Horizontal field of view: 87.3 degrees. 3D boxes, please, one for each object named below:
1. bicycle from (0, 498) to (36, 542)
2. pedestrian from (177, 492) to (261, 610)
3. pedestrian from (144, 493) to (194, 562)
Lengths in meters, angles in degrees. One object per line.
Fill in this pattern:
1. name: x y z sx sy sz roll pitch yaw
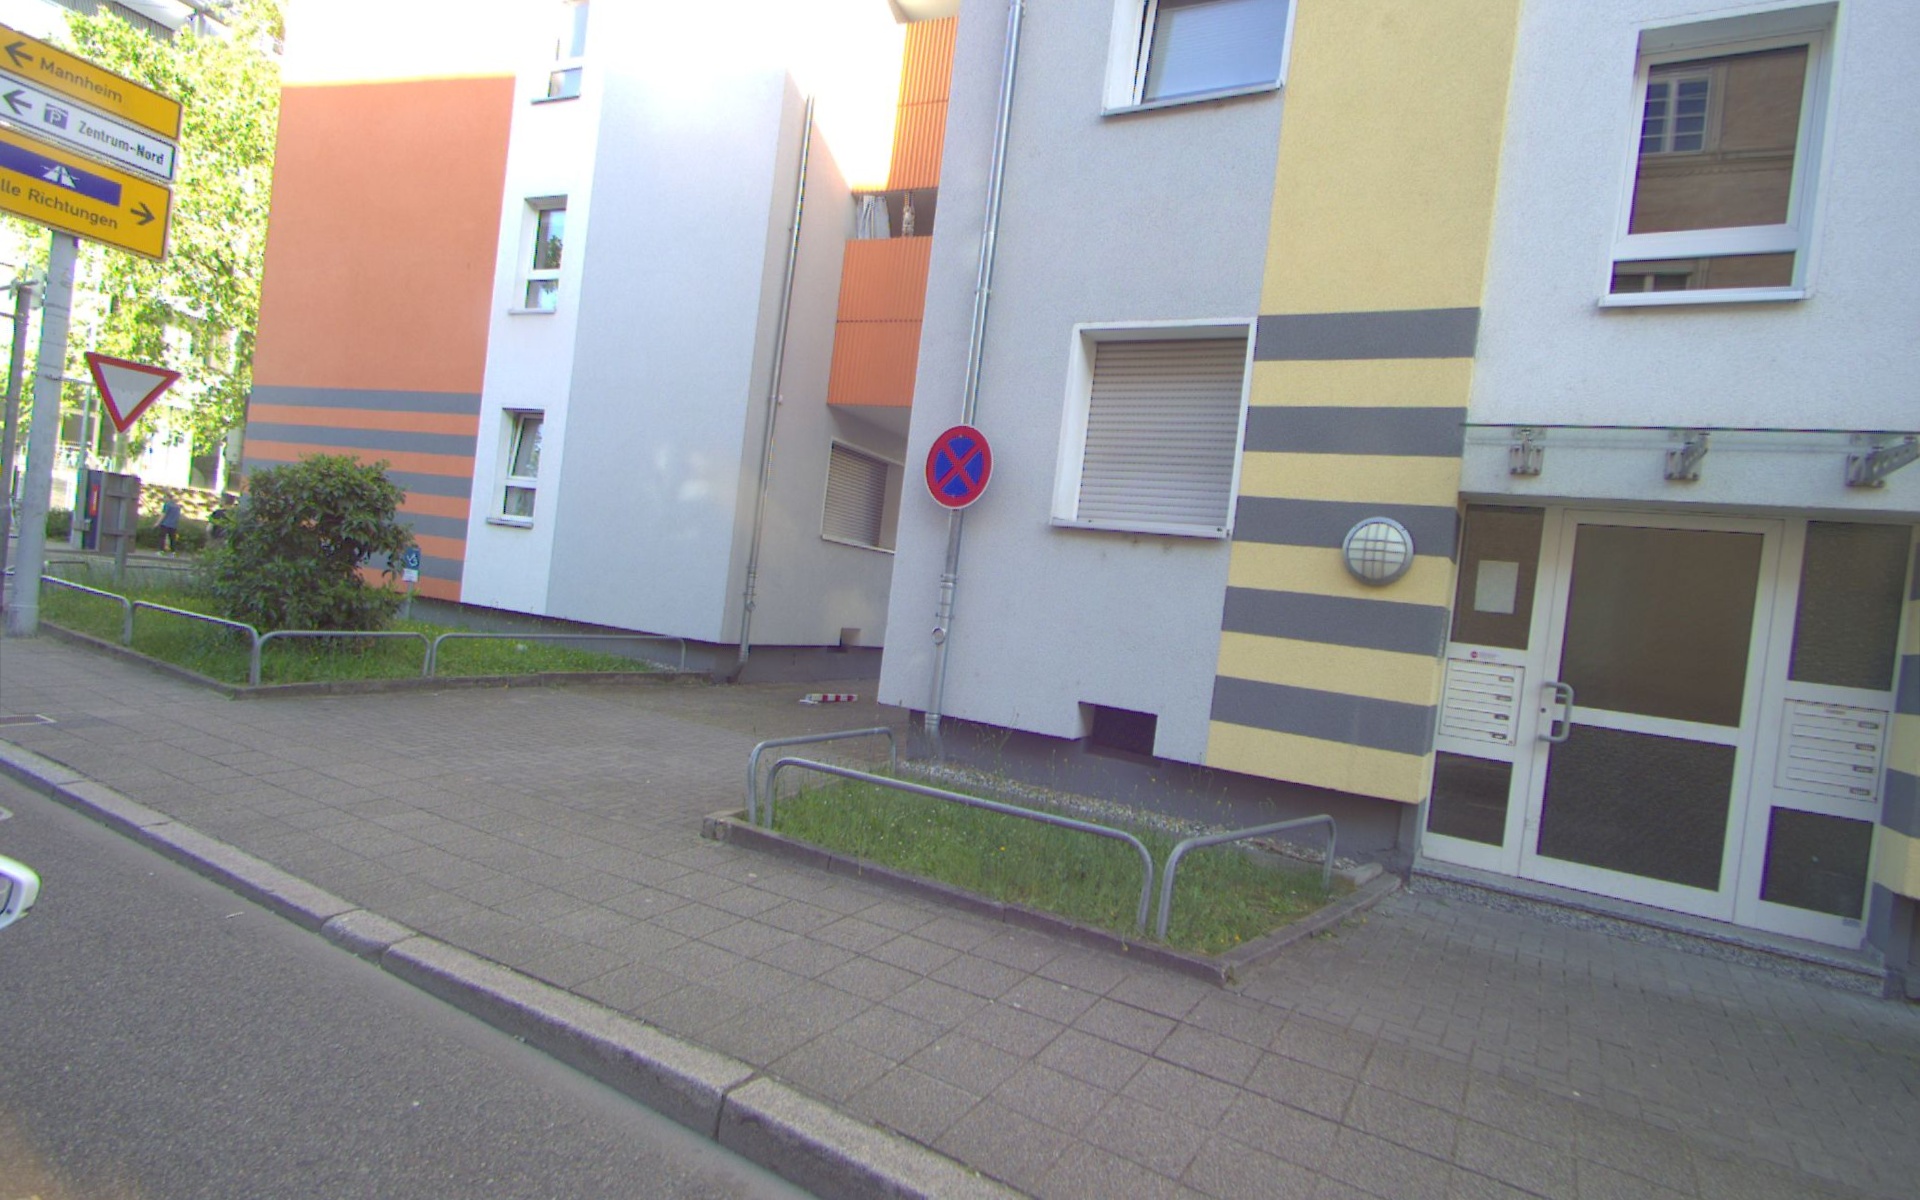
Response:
1. bicycle: -26.281 -2.247 27.357 1.658 1.063 0.508 9 2 -3
2. pedestrian: -12.625 -0.828 17.149 0.823 1.861 0.708 8 -1 32
3. pedestrian: -23.084 -2.115 29.354 0.699 1.861 0.834 7 -1 40
